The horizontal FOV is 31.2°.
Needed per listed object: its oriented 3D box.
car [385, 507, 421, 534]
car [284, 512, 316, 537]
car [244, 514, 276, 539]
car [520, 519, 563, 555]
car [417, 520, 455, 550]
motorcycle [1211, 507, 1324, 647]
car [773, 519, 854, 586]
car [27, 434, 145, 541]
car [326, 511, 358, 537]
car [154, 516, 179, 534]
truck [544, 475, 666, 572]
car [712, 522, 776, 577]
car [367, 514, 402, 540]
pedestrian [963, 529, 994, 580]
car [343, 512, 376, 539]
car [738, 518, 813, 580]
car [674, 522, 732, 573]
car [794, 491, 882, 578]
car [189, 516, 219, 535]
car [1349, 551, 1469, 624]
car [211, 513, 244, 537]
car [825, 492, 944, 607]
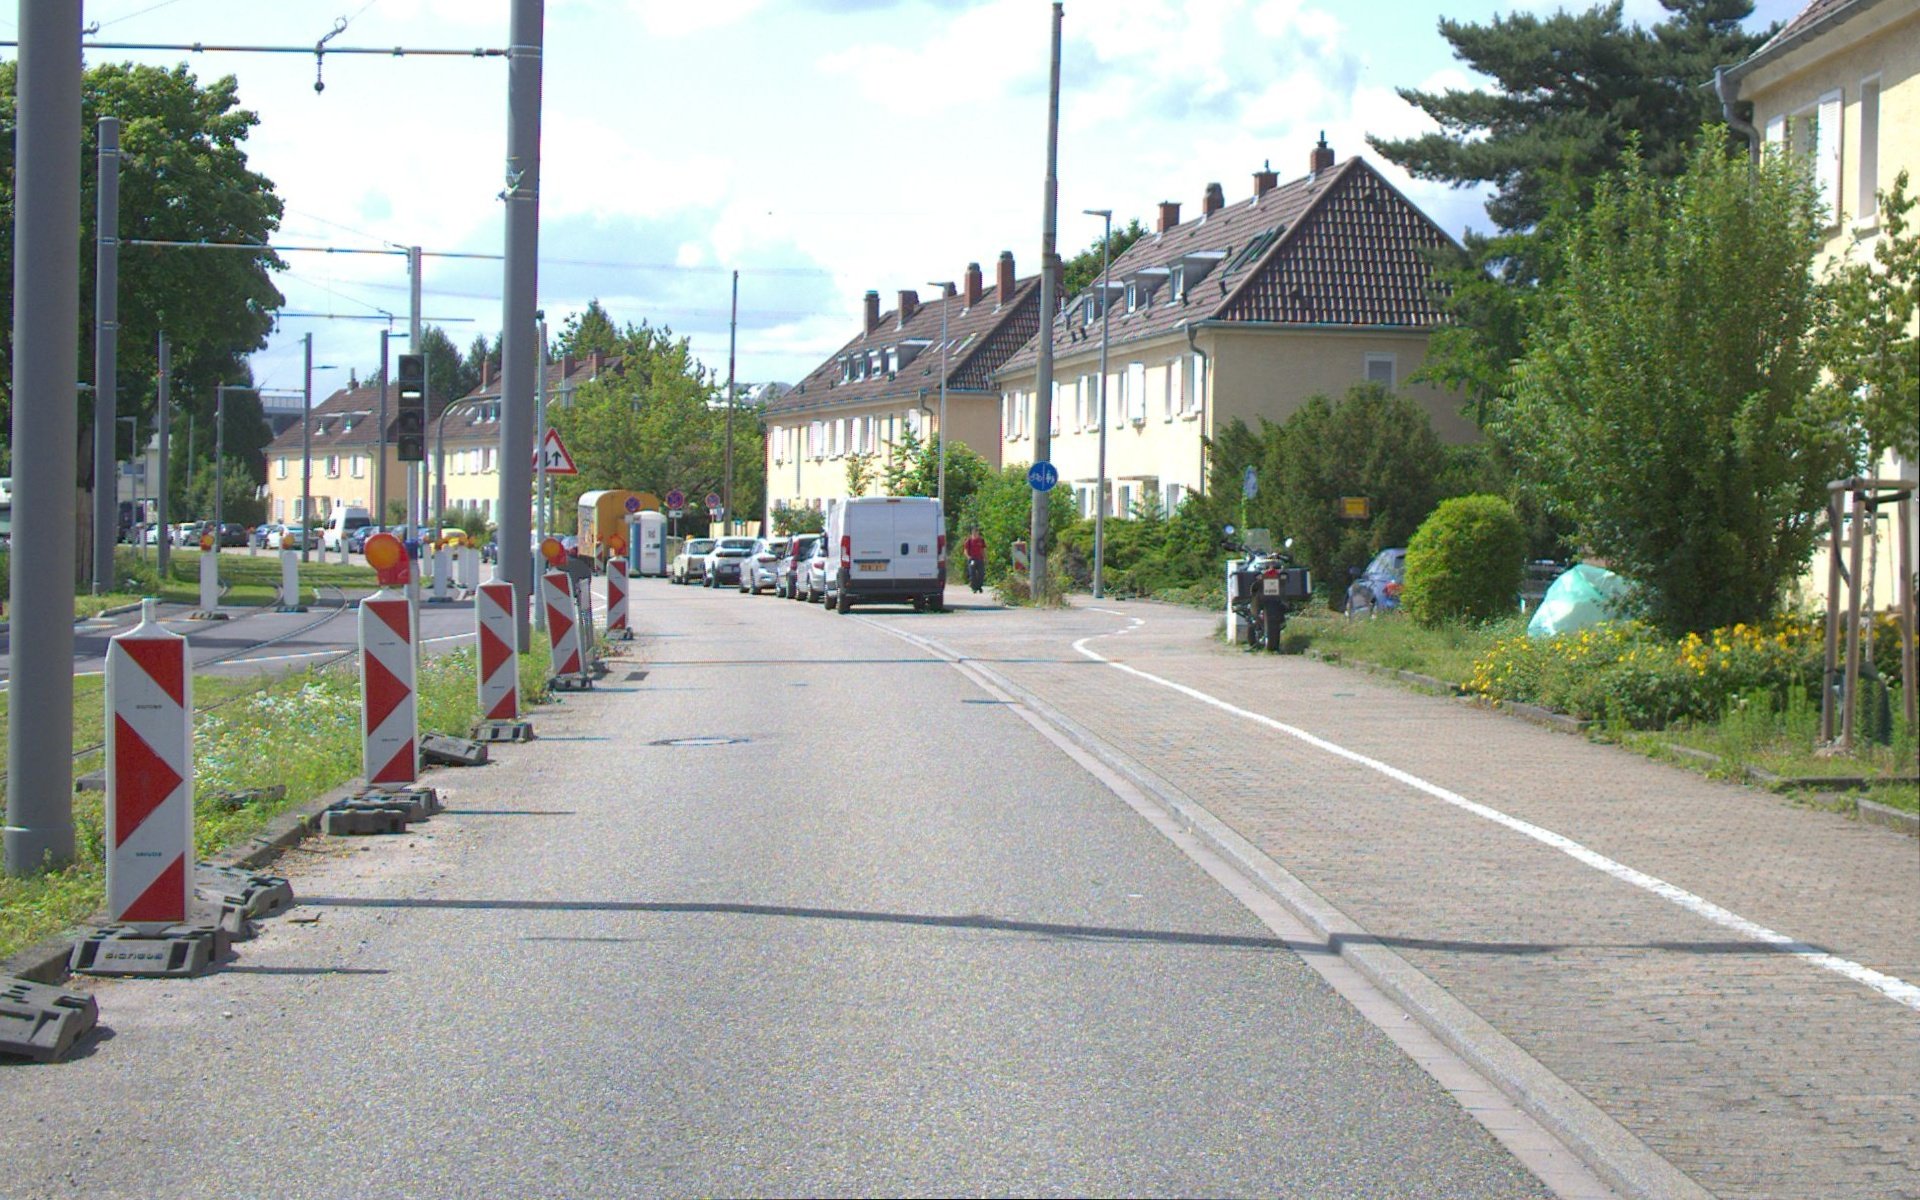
[{"bbox_3d":[-28.179,-4.016,173.848,1.257,1.346,2.666,1,1,-21],"label":"car"},{"bbox_3d":[-37.734,-4.305,196.545,1.257,1.421,2.666,0,1,-23],"label":"car"},{"bbox_3d":[-41.460,-4.366,203.631,1.257,1.421,2.666,0,1,-25],"label":"car"},{"bbox_3d":[-17.242,-2.603,141.727,1.257,1.421,2.666,1,1,-18],"label":"car"},{"bbox_3d":[-25.741,-3.193,168.905,1.257,1.421,2.666,1,1,-21],"label":"car"},{"bbox_3d":[3.701,-0.288,41.528,1.066,1.630,2.084,1,1,-2],"label":"motorcycle"},{"bbox_3d":[-3.535,-1.159,82.446,1.567,1.546,3.790,1,1,-8],"label":"car"},{"bbox_3d":[-20.273,-2.615,79.948,2.406,2.362,4.881,1,2,-12],"label":"car"},{"bbox_3d":[-33.477,-4.121,186.063,1.165,1.421,2.666,1,1,-22],"label":"car"},{"bbox_3d":[-51.996,-4.932,225.320,1.257,1.182,2.666,0,1,-21],"label":"car"},{"bbox_3d":[-13.436,-2.877,129.550,2.639,3.482,9.441,1,1,-18],"label":"truck"},{"bbox_3d":[-6.290,-1.480,99.718,1.567,1.546,3.480,1,1,-8],"label":"car"},{"bbox_3d":[-29.732,-3.772,177.696,1.257,1.346,2.666,1,1,-21],"label":"car"},{"bbox_3d":[0.458,-1.140,86.336,0.632,1.250,0.727,1,1,-10],"label":"pedestrian"},{"bbox_3d":[-31.798,-3.952,181.907,1.165,1.421,2.666,1,1,-22],"label":"car"},{"bbox_3d":[-4.744,-1.318,87.861,1.567,1.546,3.790,1,1,-8],"label":"car"},{"bbox_3d":[-7.942,-1.632,106.066,1.567,1.546,3.480,1,1,-8],"label":"car"},{"bbox_3d":[-2.758,-1.475,77.084,1.567,1.891,3.790,1,1,-8],"label":"car"},{"bbox_3d":[-47.501,-4.700,216.082,1.257,1.138,2.666,0,1,-25],"label":"car"},{"bbox_3d":[6.705,-0.205,51.473,1.311,1.026,2.769,1,1,-2],"label":"car"},{"bbox_3d":[-44.824,-4.577,210.297,1.257,1.421,2.666,0,1,-29],"label":"car"},{"bbox_3d":[-1.531,-1.002,67.542,2.065,2.141,4.879,1,1,-4],"label":"car"}]
